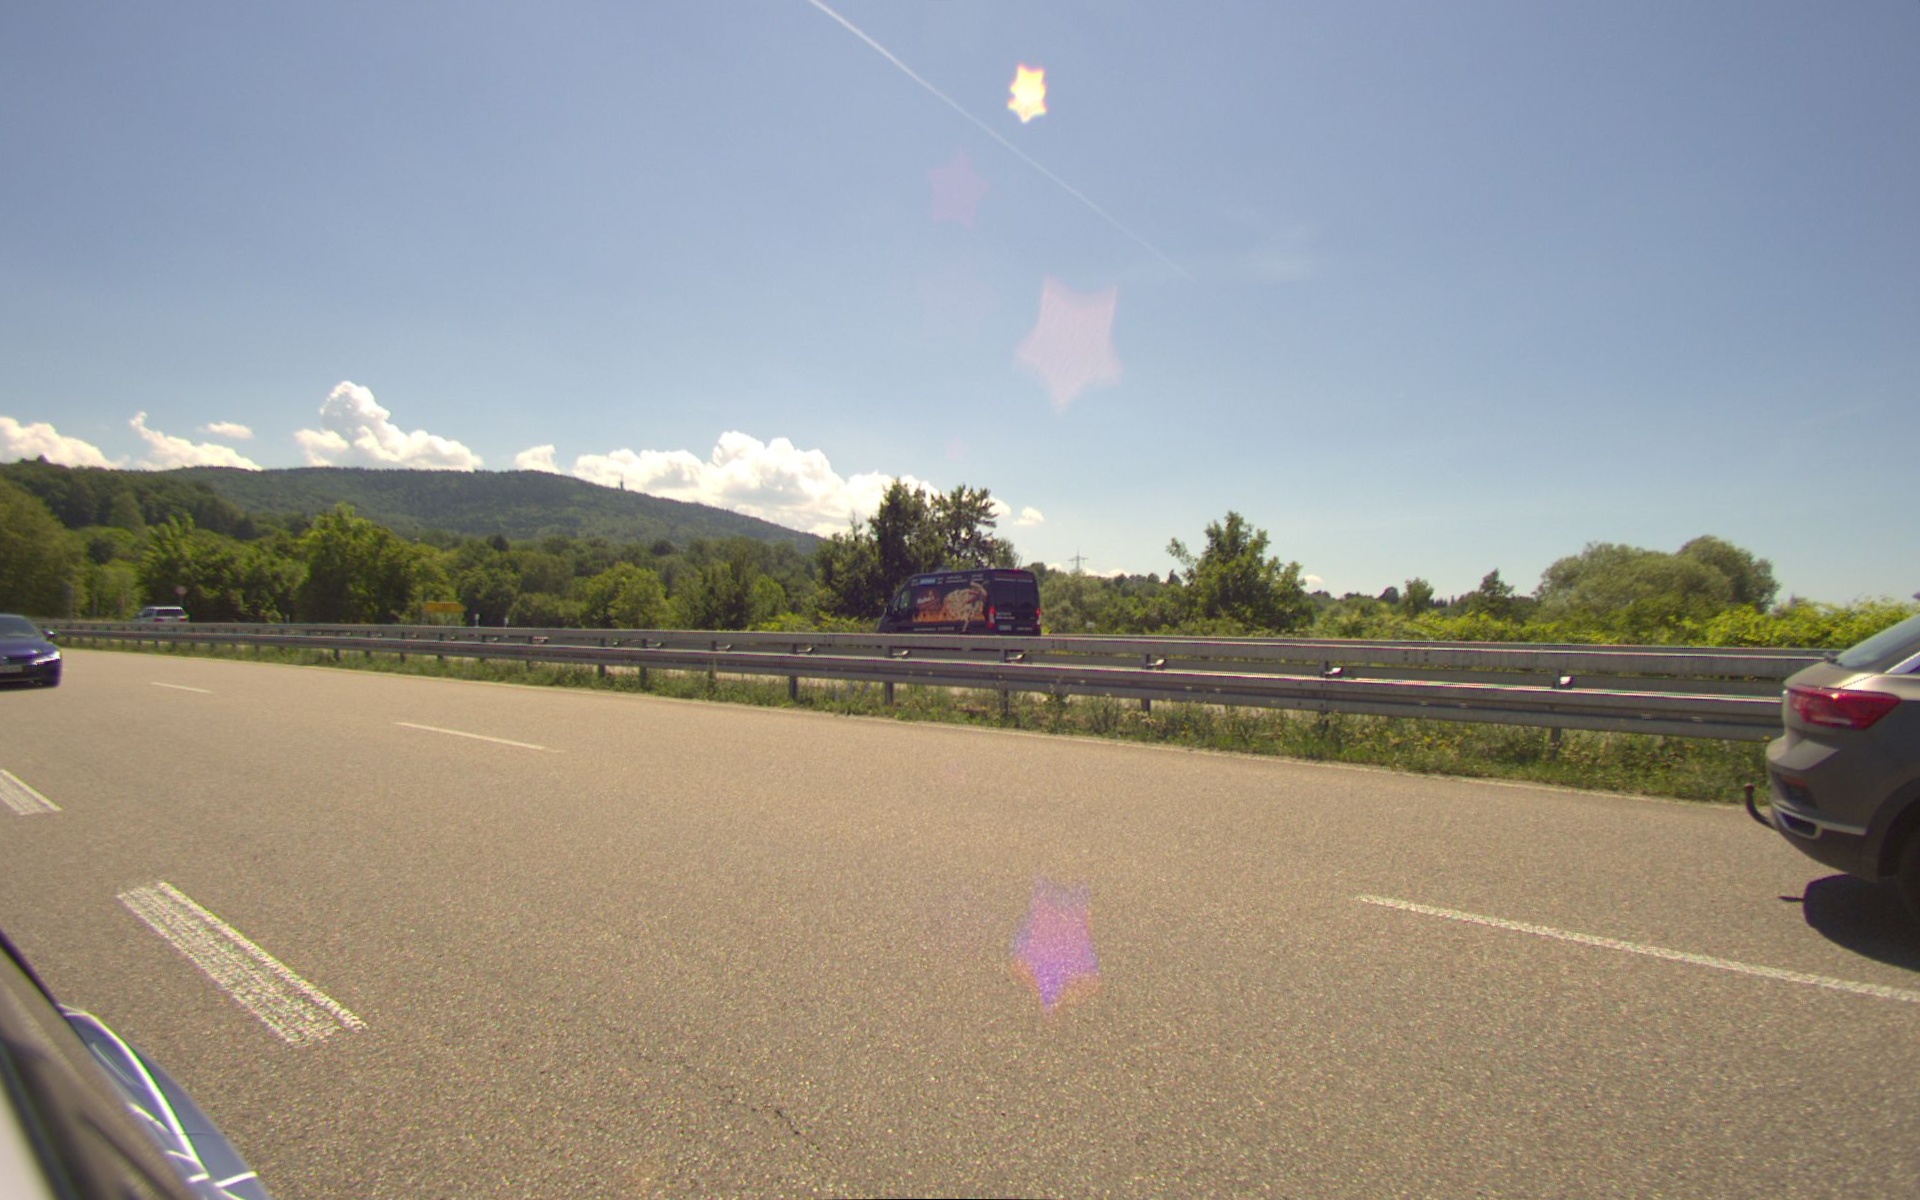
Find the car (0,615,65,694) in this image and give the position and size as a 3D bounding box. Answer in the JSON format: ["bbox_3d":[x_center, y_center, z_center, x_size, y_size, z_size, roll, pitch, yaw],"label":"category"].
[{"bbox_3d":[-19.166,1.028,19.775,4.465,1.418,1.823,-1,-1,39],"label":"car"}]

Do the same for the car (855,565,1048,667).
[{"bbox_3d":[-0.356,0.416,29.094,5.628,2.657,2.179,1,-1,44],"label":"car"}]

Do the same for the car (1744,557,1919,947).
[{"bbox_3d":[5.654,0.574,3.565,4.468,1.541,1.822,-1,-1,41],"label":"car"}]

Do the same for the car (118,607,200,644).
[{"bbox_3d":[-45.618,1.415,57.609,4.898,1.907,2.186,1,-1,33],"label":"car"}]
